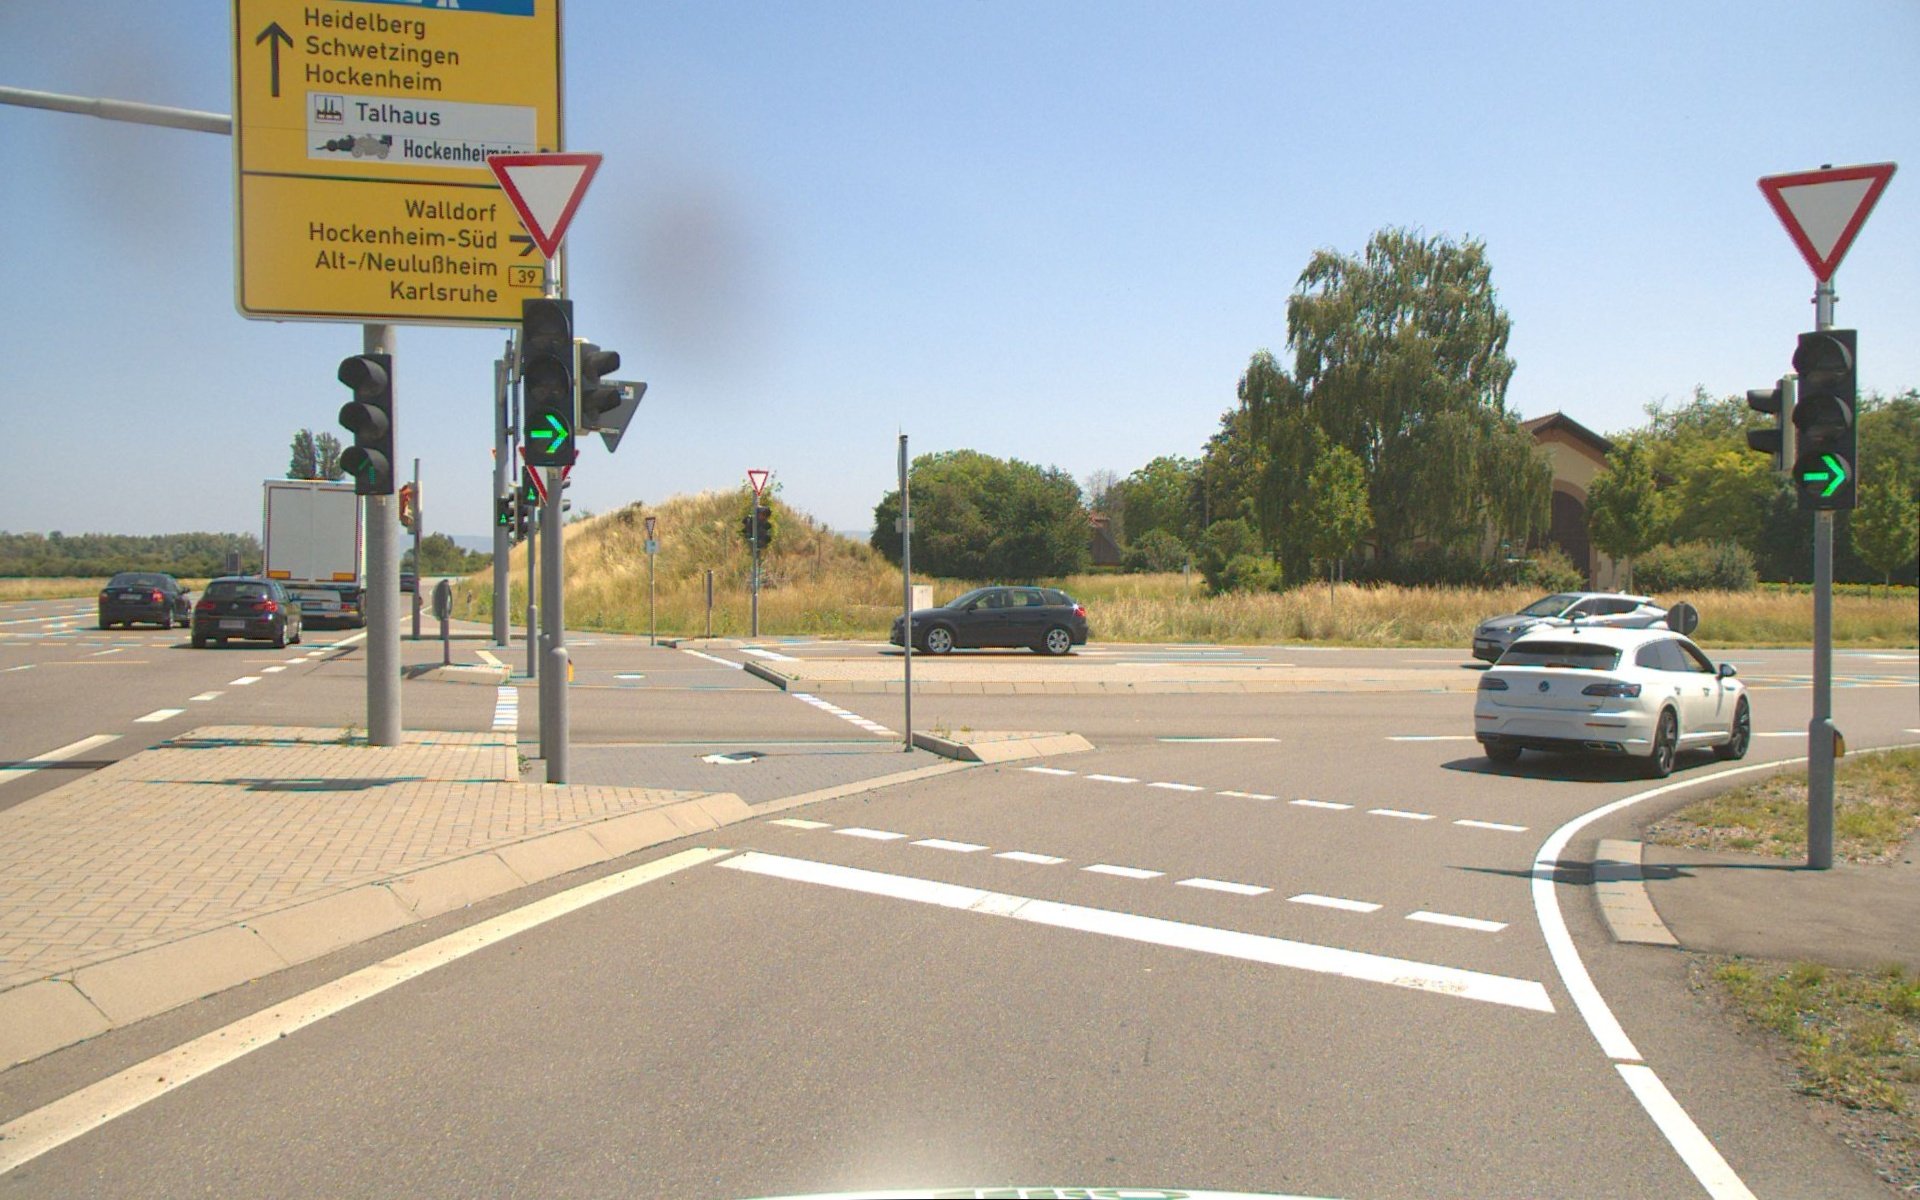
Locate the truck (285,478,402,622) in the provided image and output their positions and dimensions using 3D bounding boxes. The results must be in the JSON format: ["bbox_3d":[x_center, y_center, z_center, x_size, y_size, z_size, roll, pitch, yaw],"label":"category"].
[{"bbox_3d":[-21.236,-1.637,57.302,3.328,4.622,6.341,1,0,-17],"label":"truck"}]

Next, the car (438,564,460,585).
[{"bbox_3d":[-49.459,-2.430,159.985,1.949,1.902,4.445,1,0,-17],"label":"car"}]

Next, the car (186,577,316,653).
[{"bbox_3d":[-14.763,0.275,34.657,1.754,1.455,4.365,2,0,-14],"label":"car"}]

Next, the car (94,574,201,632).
[{"bbox_3d":[-21.273,0.073,43.449,1.647,1.436,4.449,1,0,-15],"label":"car"}]

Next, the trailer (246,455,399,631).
[{"bbox_3d":[-19.216,-1.568,50.647,3.327,4.622,12.810,1,0,-17],"label":"trailer"}]

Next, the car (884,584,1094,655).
[{"bbox_3d":[0.581,0.384,34.925,4.184,1.392,1.771,-1,2,-11],"label":"car"}]

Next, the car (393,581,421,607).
[{"bbox_3d":[-42.713,-0.445,127.806,1.949,1.927,4.445,1,0,-17],"label":"car"}]

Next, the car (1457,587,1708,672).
[{"bbox_3d":[12.554,0.555,33.436,4.455,1.570,1.867,-1,2,-12],"label":"car"}]

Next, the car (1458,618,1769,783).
[{"bbox_3d":[7.107,0.975,17.698,1.819,1.458,4.586,2,0,39],"label":"car"}]
